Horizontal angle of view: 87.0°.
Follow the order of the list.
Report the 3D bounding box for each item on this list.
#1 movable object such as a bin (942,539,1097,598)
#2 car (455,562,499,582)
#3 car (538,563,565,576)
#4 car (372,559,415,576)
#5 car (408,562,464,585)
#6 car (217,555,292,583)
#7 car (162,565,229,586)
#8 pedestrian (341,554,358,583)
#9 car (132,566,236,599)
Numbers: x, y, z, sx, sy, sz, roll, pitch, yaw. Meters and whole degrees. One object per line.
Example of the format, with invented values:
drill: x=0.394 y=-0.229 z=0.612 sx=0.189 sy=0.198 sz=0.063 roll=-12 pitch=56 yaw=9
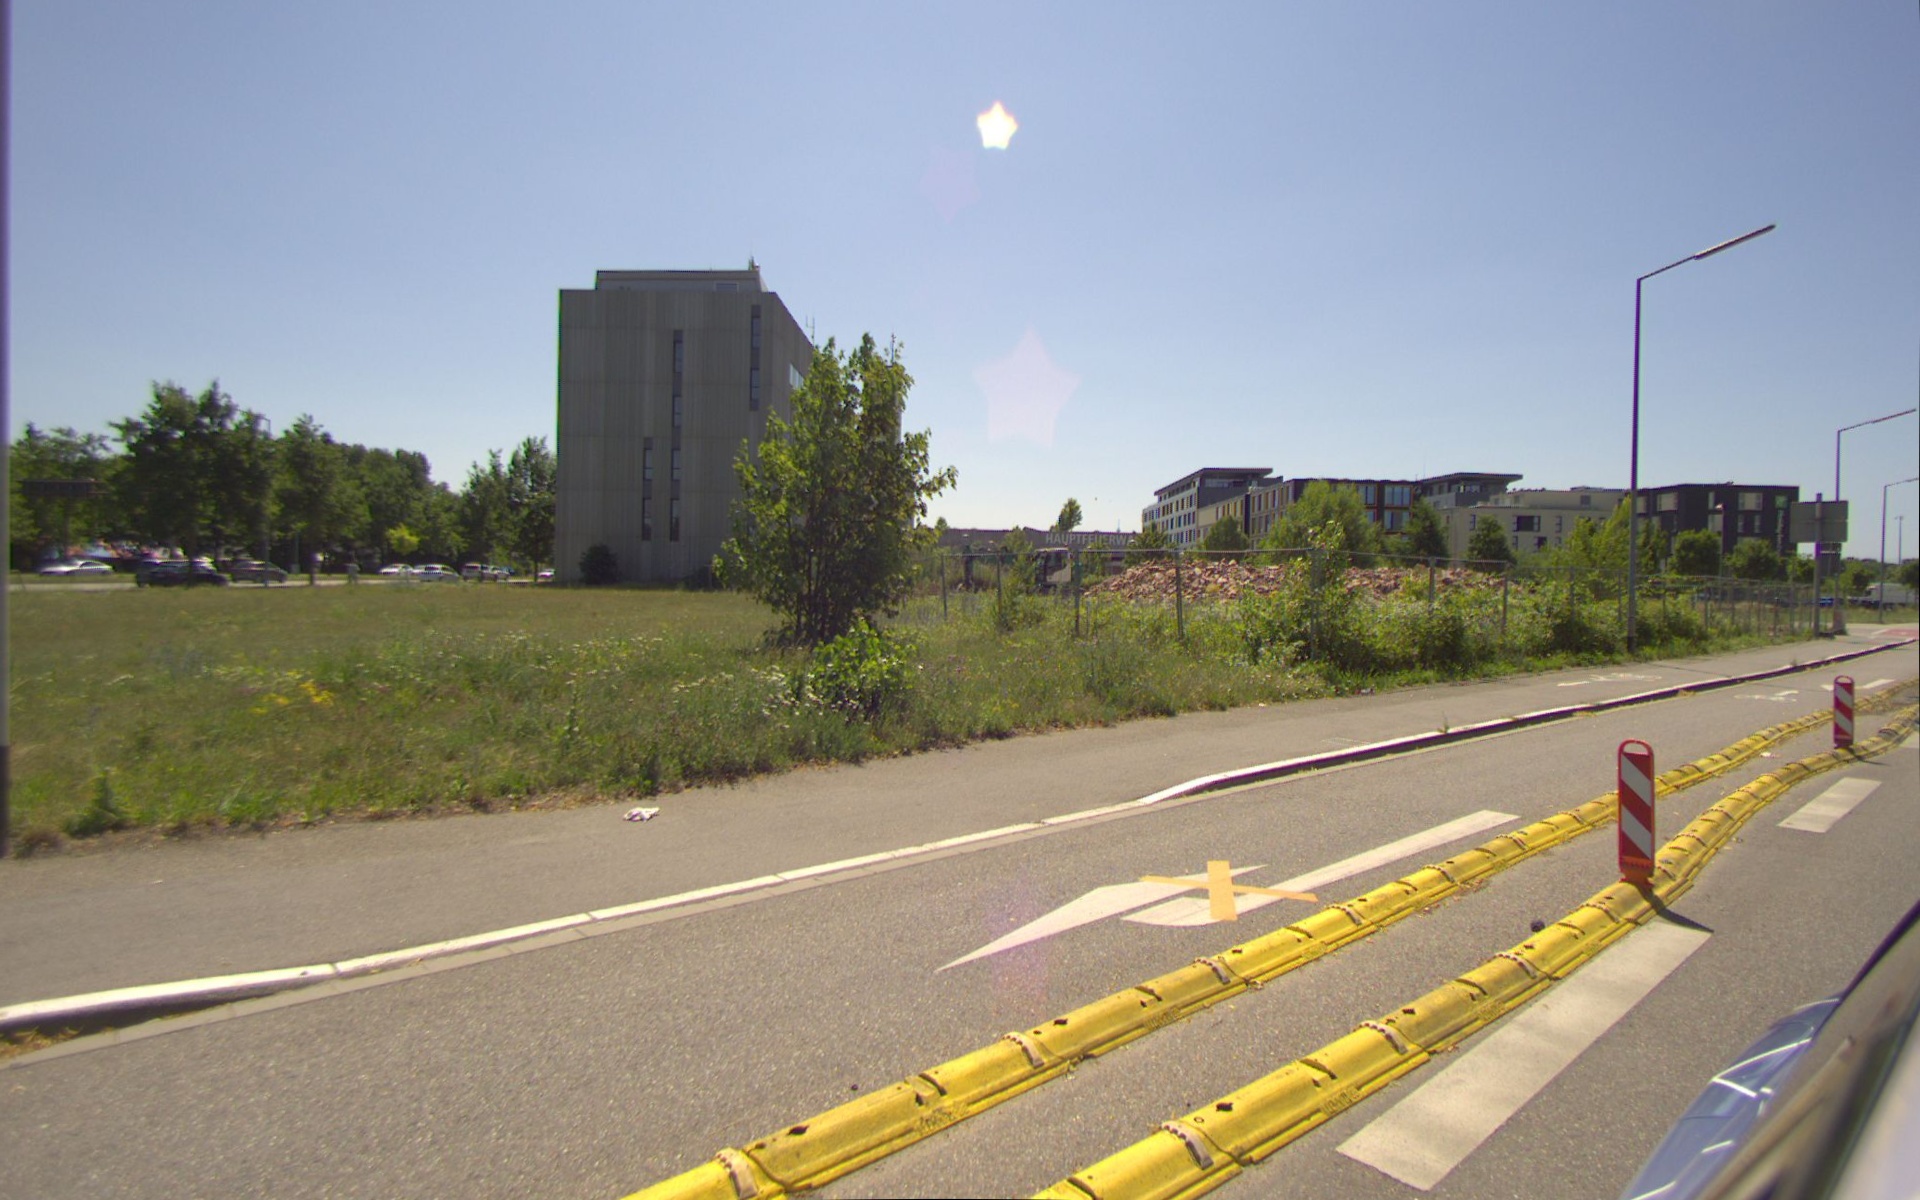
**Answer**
movable object such as a bin: x=3.131 y=-1.598 z=53.286 sx=7.537 sy=2.952 sz=3.242 roll=-1 pitch=0 yaw=-26
car: x=-45.077 y=-2.593 z=94.491 sx=1.962 sy=1.757 sz=4.645 roll=0 pitch=0 yaw=-1
car: x=-56.313 y=-4.208 z=139.557 sx=1.814 sy=1.612 sz=4.443 roll=0 pitch=0 yaw=1
car: x=-58.224 y=-3.332 z=104.114 sx=1.814 sy=1.612 sz=4.443 roll=0 pitch=0 yaw=1
car: x=-42.452 y=-2.117 z=82.117 sx=1.964 sy=1.757 sz=4.639 roll=0 pitch=0 yaw=4
car: x=-48.078 y=-2.095 z=69.085 sx=1.962 sy=1.757 sz=4.645 roll=0 pitch=0 yaw=-1
car: x=-58.939 y=-1.864 z=78.142 sx=1.814 sy=1.612 sz=4.443 roll=0 pitch=0 yaw=1
pedestrian: x=-33.949 y=-1.737 z=56.296 sx=0.652 sy=1.611 sz=0.557 roll=0 pitch=0 yaw=-15
car: x=-42.424 y=-0.939 z=55.473 sx=1.964 sy=1.757 sz=4.639 roll=0 pitch=0 yaw=4
